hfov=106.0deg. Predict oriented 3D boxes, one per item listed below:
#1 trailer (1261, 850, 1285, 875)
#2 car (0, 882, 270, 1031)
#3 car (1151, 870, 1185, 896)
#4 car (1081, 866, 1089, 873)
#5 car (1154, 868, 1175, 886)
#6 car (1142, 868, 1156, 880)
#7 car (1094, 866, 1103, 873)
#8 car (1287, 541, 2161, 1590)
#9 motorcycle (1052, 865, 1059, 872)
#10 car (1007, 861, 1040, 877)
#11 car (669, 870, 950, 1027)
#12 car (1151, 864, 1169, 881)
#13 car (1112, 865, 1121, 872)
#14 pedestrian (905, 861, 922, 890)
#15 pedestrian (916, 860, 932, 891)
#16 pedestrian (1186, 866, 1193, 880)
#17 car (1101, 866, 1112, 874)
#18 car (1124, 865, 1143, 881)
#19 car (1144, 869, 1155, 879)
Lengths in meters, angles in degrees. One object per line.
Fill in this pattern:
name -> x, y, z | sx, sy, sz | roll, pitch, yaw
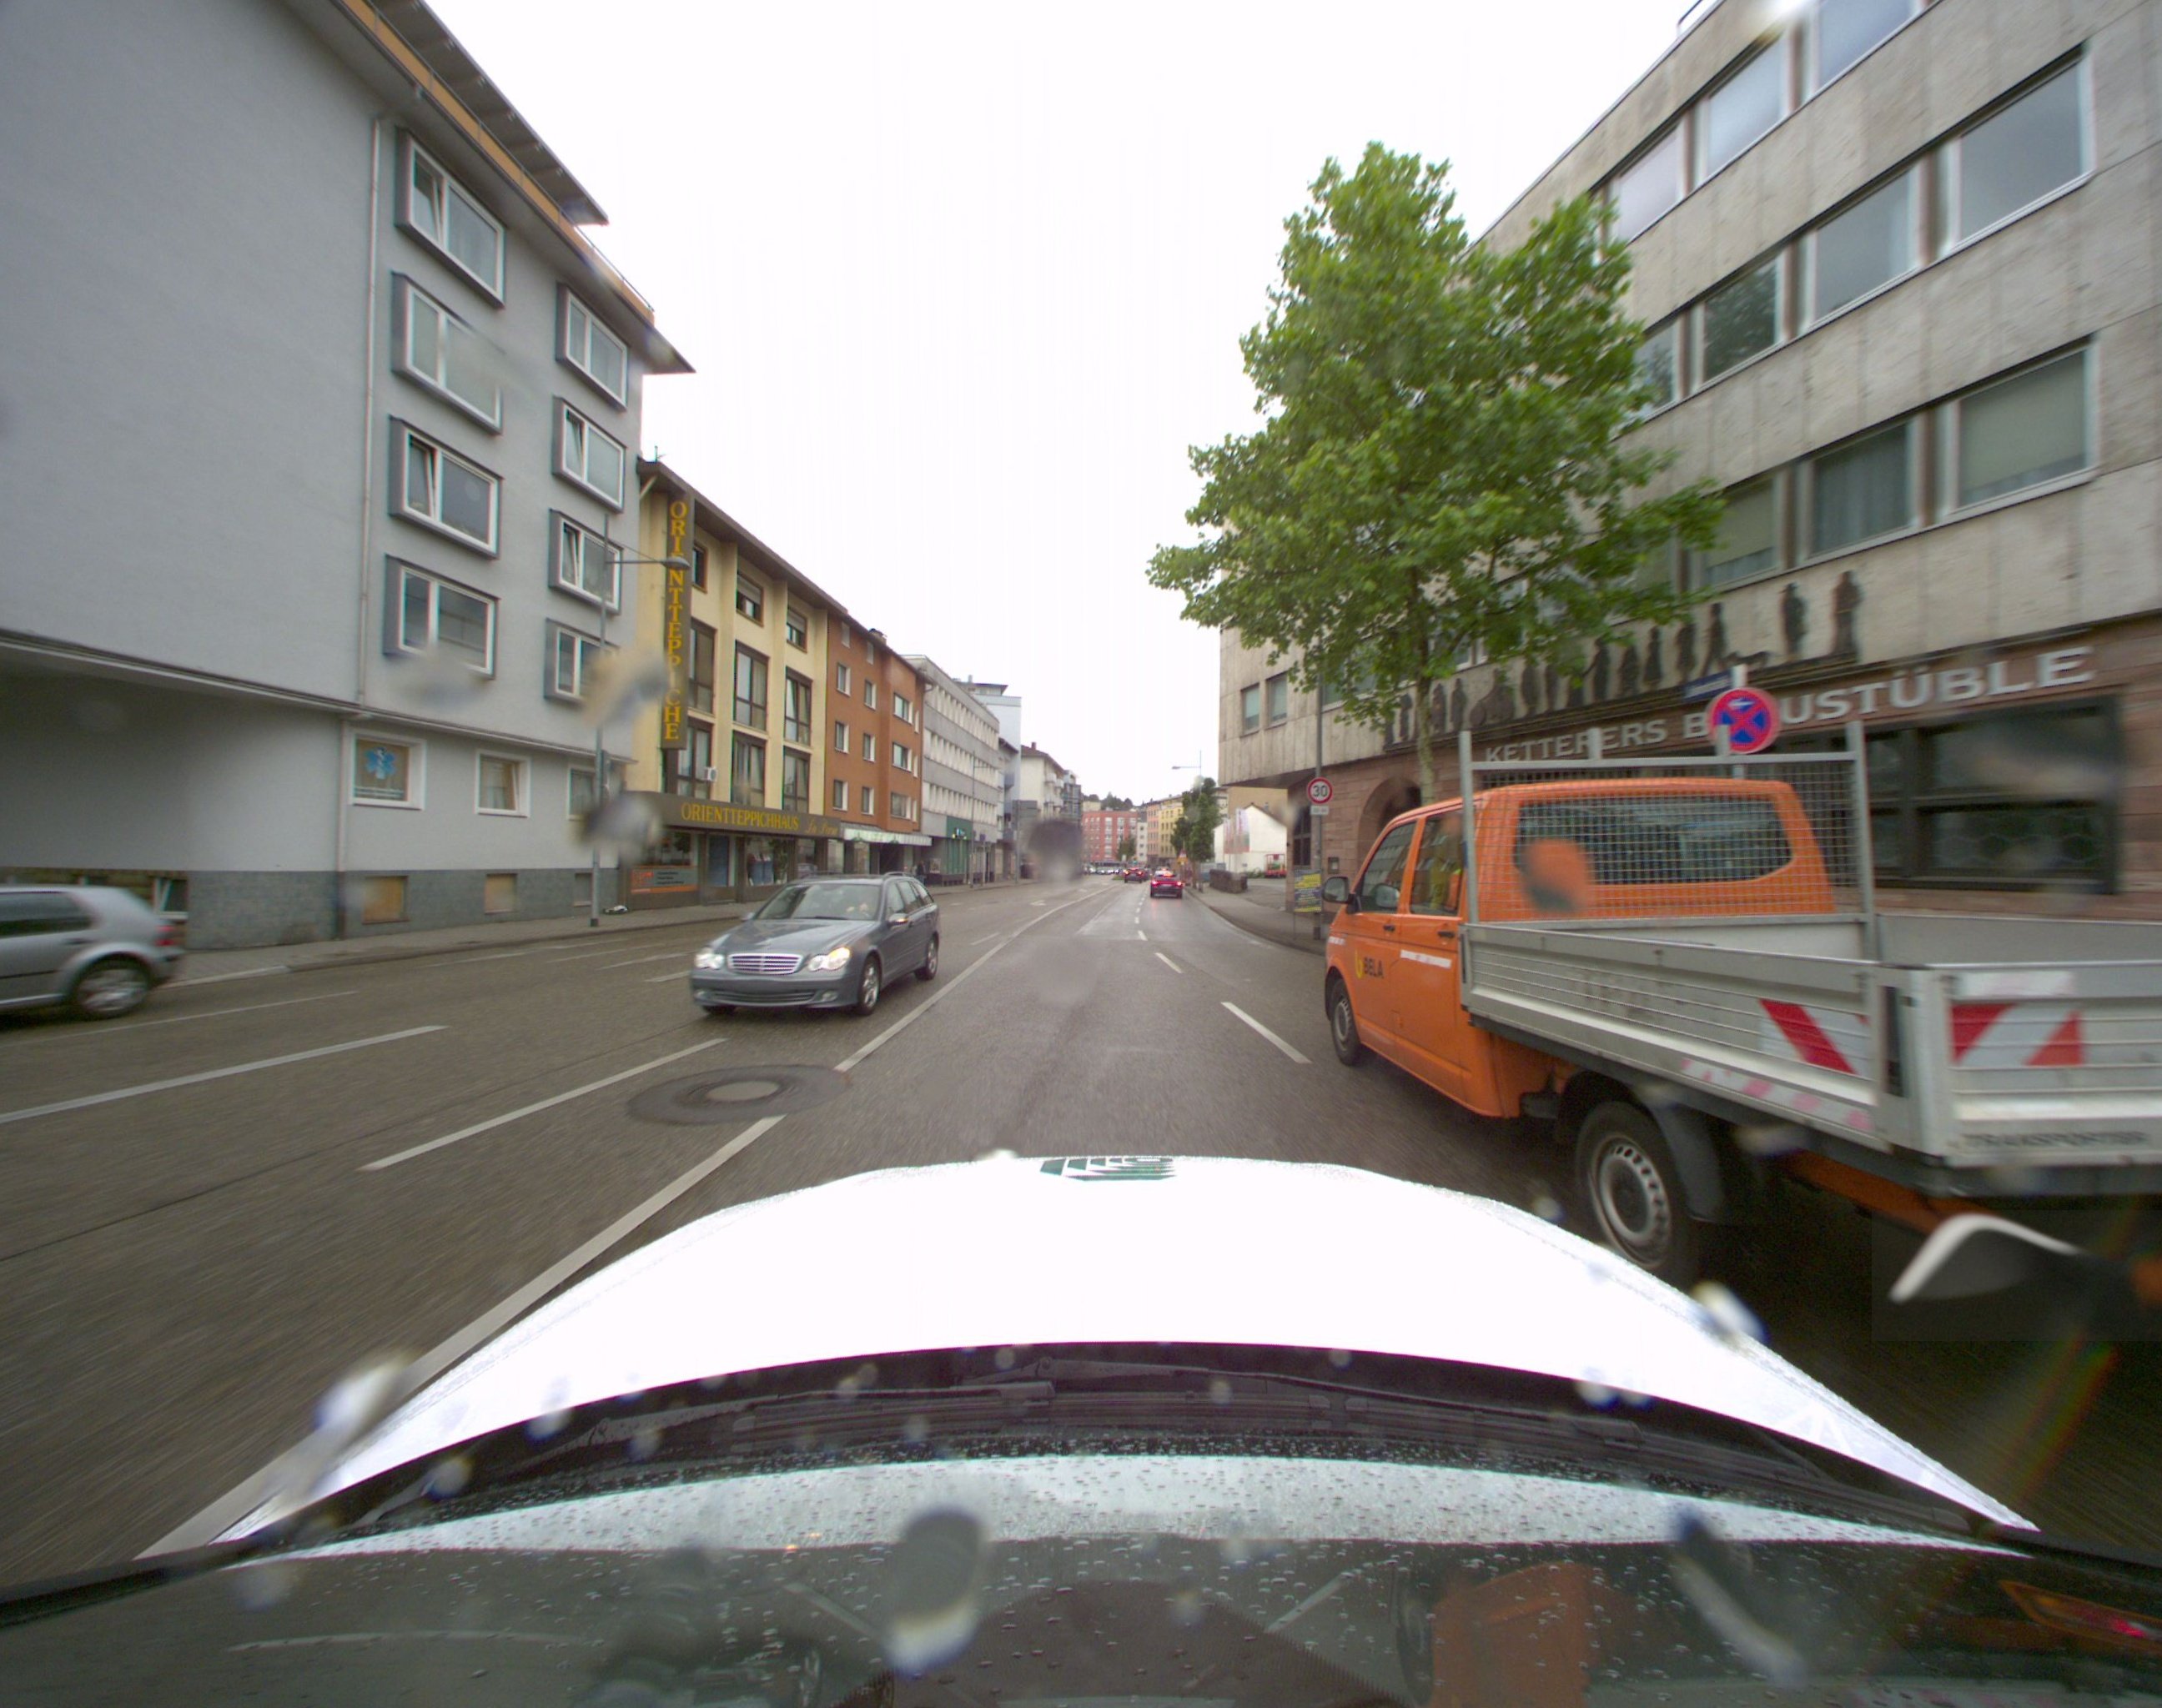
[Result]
trailer -> 21.892, 0.977, 93.037 | 2.115, 2.716, 5.403 | -2, -1, 8
car -> -10.887, 0.969, 7.839 | 1.719, 1.366, 4.118 | 0, -2, 7
car -> 5.096, 1.647, 47.928 | 1.782, 1.403, 4.637 | 0, -1, 4
car -> 0.809, 3.419, 181.505 | 1.453, 1.430, 3.363 | 3, 0, -5
car -> 6.919, 1.908, 67.513 | 1.656, 1.396, 3.873 | 1, 0, 6
car -> 8.111, 2.352, 97.826 | 1.633, 1.381, 3.352 | -1, -1, 4
car -> 3.786, 3.461, 180.930 | 1.716, 1.423, 4.161 | -2, -1, -2
car -> 2.812, 0.427, 4.399 | 2.094, 2.089, 5.543 | -2, -1, 2
motorcycle -> -3.573, 2.037, 114.087 | 0.523, 0.995, 2.140 | 3, -1, 7
car -> -7.295, 1.950, 104.285 | 3.943, 2.034, 1.583 | 0, -1, 6
car -> -2.889, 0.927, 9.800 | 1.726, 1.440, 4.415 | 0, -1, 2
car -> 8.884, 2.069, 91.642 | 1.820, 1.805, 3.726 | 2, 0, 7
car -> 7.769, 3.151, 177.846 | 1.716, 1.423, 4.161 | -2, -1, -2
pedestrian -> -9.917, 1.271, 48.323 | 0.627, 1.675, 0.909 | 5, -1, 5
pedestrian -> -9.319, 1.256, 48.265 | 0.572, 1.788, 0.828 | 5, -1, 6
pedestrian -> 14.060, 2.470, 105.669 | 0.785, 1.755, 0.876 | -1, -1, 19
car -> 4.899, 3.107, 156.316 | 1.699, 1.468, 4.837 | -2, -1, 6
car -> 5.600, 2.048, 87.053 | 1.814, 1.600, 3.725 | 2, -1, 6
car -> 10.208, 3.008, 121.693 | 1.633, 1.381, 3.352 | -1, -1, 4
